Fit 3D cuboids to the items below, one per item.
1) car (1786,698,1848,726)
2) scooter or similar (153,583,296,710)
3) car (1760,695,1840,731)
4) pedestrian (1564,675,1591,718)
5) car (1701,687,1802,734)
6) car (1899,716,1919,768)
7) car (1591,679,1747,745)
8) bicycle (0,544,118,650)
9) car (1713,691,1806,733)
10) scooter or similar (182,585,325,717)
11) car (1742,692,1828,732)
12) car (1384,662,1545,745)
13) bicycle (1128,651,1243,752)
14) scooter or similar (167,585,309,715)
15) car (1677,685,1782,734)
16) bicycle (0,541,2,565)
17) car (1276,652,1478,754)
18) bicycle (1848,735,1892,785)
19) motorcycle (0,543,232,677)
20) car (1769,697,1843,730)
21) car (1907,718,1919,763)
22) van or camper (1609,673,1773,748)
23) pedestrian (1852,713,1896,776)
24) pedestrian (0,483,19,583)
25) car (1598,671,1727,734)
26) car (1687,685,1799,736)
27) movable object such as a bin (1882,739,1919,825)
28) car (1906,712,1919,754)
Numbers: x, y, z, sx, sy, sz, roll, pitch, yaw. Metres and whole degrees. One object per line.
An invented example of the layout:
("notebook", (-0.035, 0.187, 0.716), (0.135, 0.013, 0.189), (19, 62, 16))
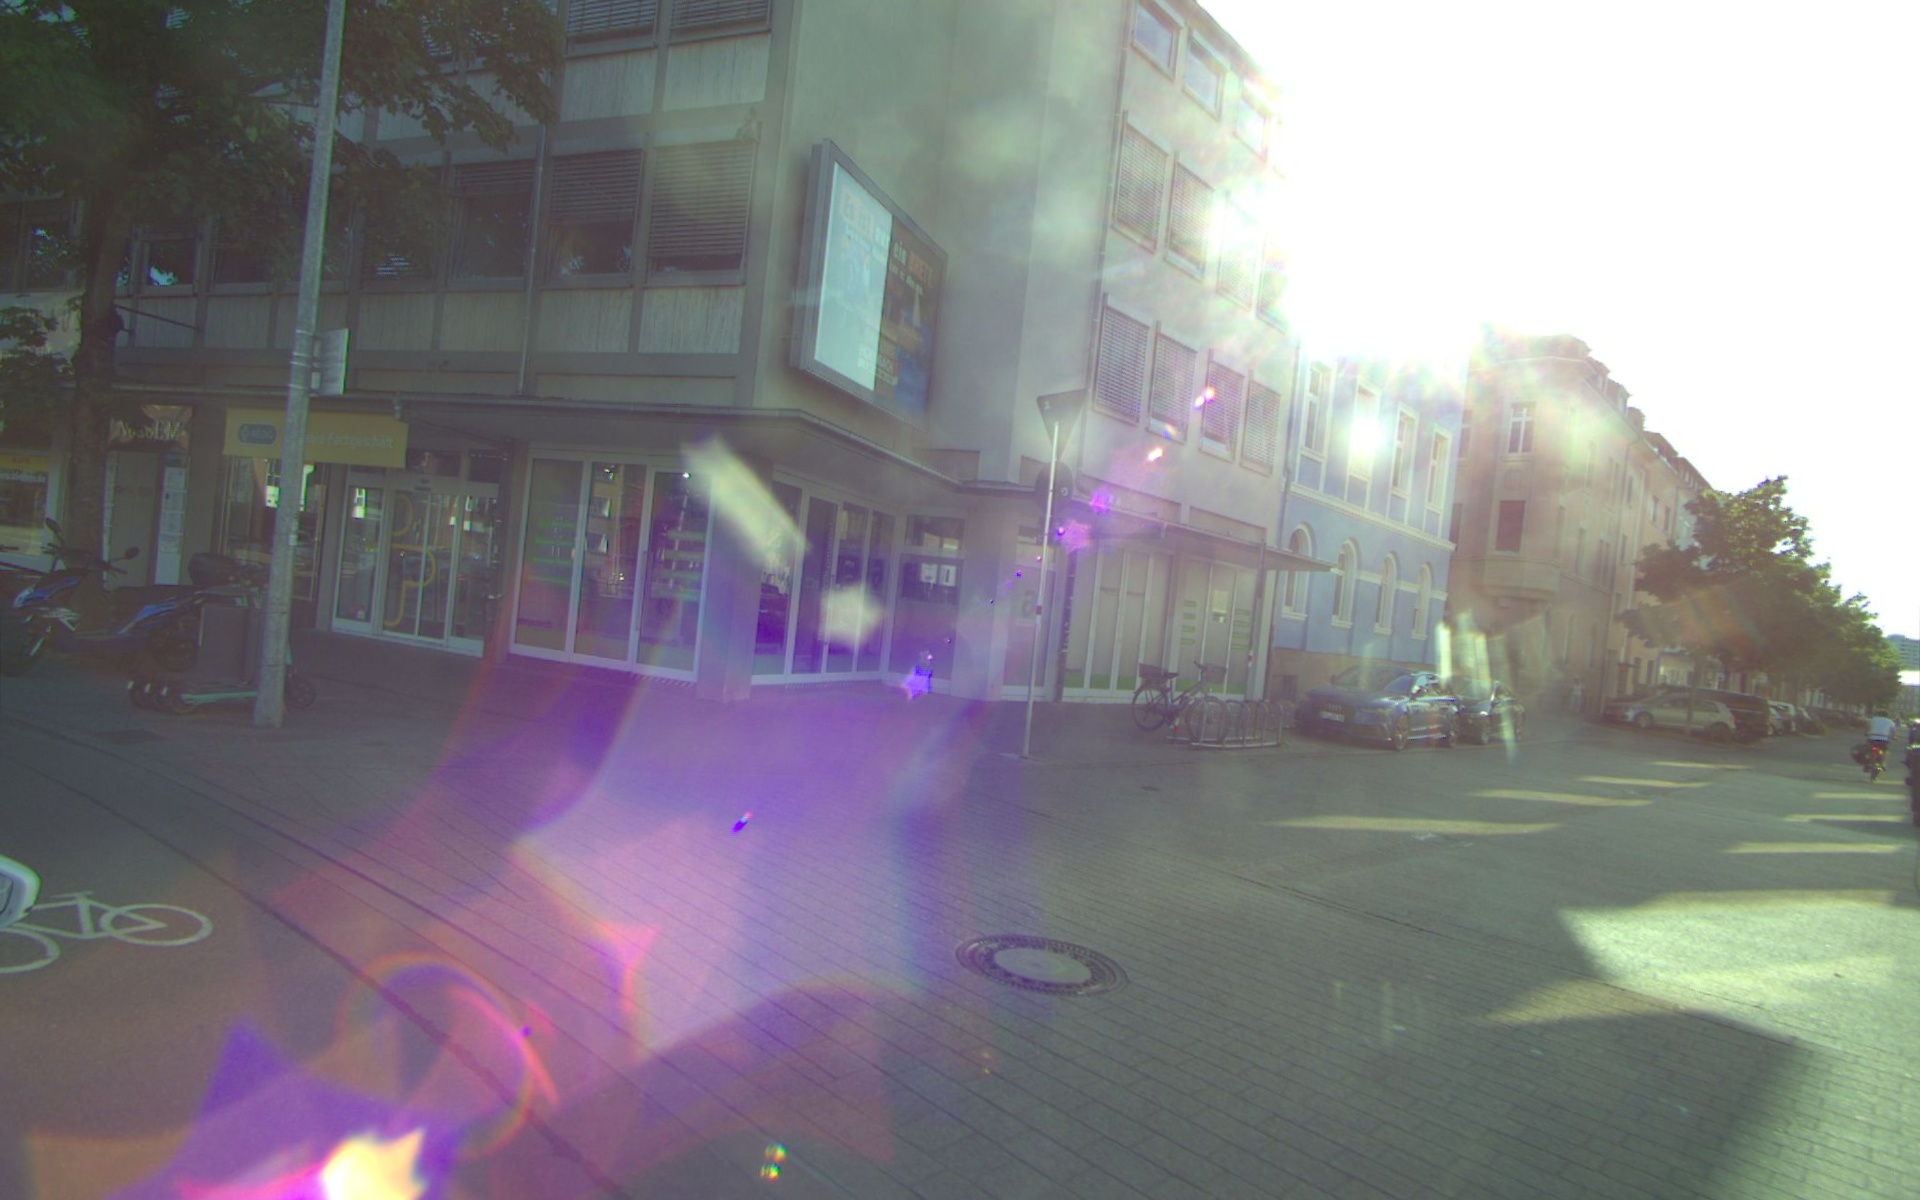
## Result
("car", (79.688, 10.425, 93.585), (4.053, 1.746, 1.872), (11, 3, 44))
("scooter or similar", (-6.380, 0.410, 8.765), (0.157, 1.040, 0.965), (7, 1, 26))
("car", (60.183, 8.108, 72.097), (4.053, 1.746, 1.872), (11, 3, 44))
("pedestrian", (25.005, 3.913, 40.736), (0.742, 1.635, 0.800), (6, 0, 36))
("car", (44.058, 6.140, 56.028), (4.053, 1.746, 1.872), (11, 3, 44))
("car", (35.954, 5.347, 36.997), (1.856, 1.746, 4.087), (11, 2, 44))
("car", (26.536, 4.169, 37.805), (4.231, 1.569, 1.882), (9, 2, 10))
("bicycle", (-9.986, -0.040, 10.550), (0.392, 1.070, 1.856), (6, 1, 13))
("car", (48.367, 6.761, 60.912), (4.053, 1.746, 1.872), (11, 3, 44))
("scooter or similar", (-6.000, 0.436, 8.578), (0.157, 1.056, 0.965), (7, 1, 26))
("car", (53.792, 7.301, 65.625), (4.053, 1.746, 1.872), (11, 3, 44))
("car", (11.882, 2.440, 23.512), (1.857, 1.451, 4.801), (11, 2, 44))
("bicycle", (3.273, 1.467, 14.715), (0.440, 1.175, 1.482), (6, 3, -45))
("scooter or similar", (-6.203, 0.434, 8.681), (0.157, 1.052, 0.958), (7, 1, 26))
("car", (40.533, 5.739, 53.042), (4.053, 1.746, 1.872), (11, 3, 44))
("bicycle", (-11.884, -0.235, 11.116), (0.450, 1.069, 1.770), (6, -1, 29))
("car", (8.217, 2.018, 19.565), (1.857, 1.451, 4.801), (11, 2, 44))
("bicycle", (22.403, 3.917, 24.749), (1.535, 1.100, 0.552), (7, 3, -43))
("motorcycle", (-8.130, 0.134, 9.634), (0.495, 1.143, 1.792), (6, -1, 24))
("car", (64.994, 8.703, 77.327), (4.053, 1.746, 1.872), (11, 3, 44))
("car", (40.730, 5.986, 41.584), (4.285, 1.746, 1.858), (8, 2, -43))
("van or camper", (28.924, 4.343, 39.959), (4.675, 1.974, 1.882), (9, 2, 10))
("pedestrian", (22.529, 3.563, 24.800), (0.669, 1.438, 0.558), (6, 4, -44))
("pedestrian", (-16.318, -1.165, 16.549), (0.864, 1.622, 0.845), (6, 0, 24))
("car", (29.843, 4.325, 42.807), (4.119, 1.826, 1.873), (11, 3, 41))
("car", (39.148, 5.505, 50.363), (4.053, 1.746, 1.872), (11, 3, 44))
("movable object such as a bin", (16.225, 3.061, 16.567), (1.400, 1.304, 1.641), (6, -1, 44))
("car", (47.197, 6.589, 48.481), (4.285, 1.922, 1.858), (7, 2, -43))
